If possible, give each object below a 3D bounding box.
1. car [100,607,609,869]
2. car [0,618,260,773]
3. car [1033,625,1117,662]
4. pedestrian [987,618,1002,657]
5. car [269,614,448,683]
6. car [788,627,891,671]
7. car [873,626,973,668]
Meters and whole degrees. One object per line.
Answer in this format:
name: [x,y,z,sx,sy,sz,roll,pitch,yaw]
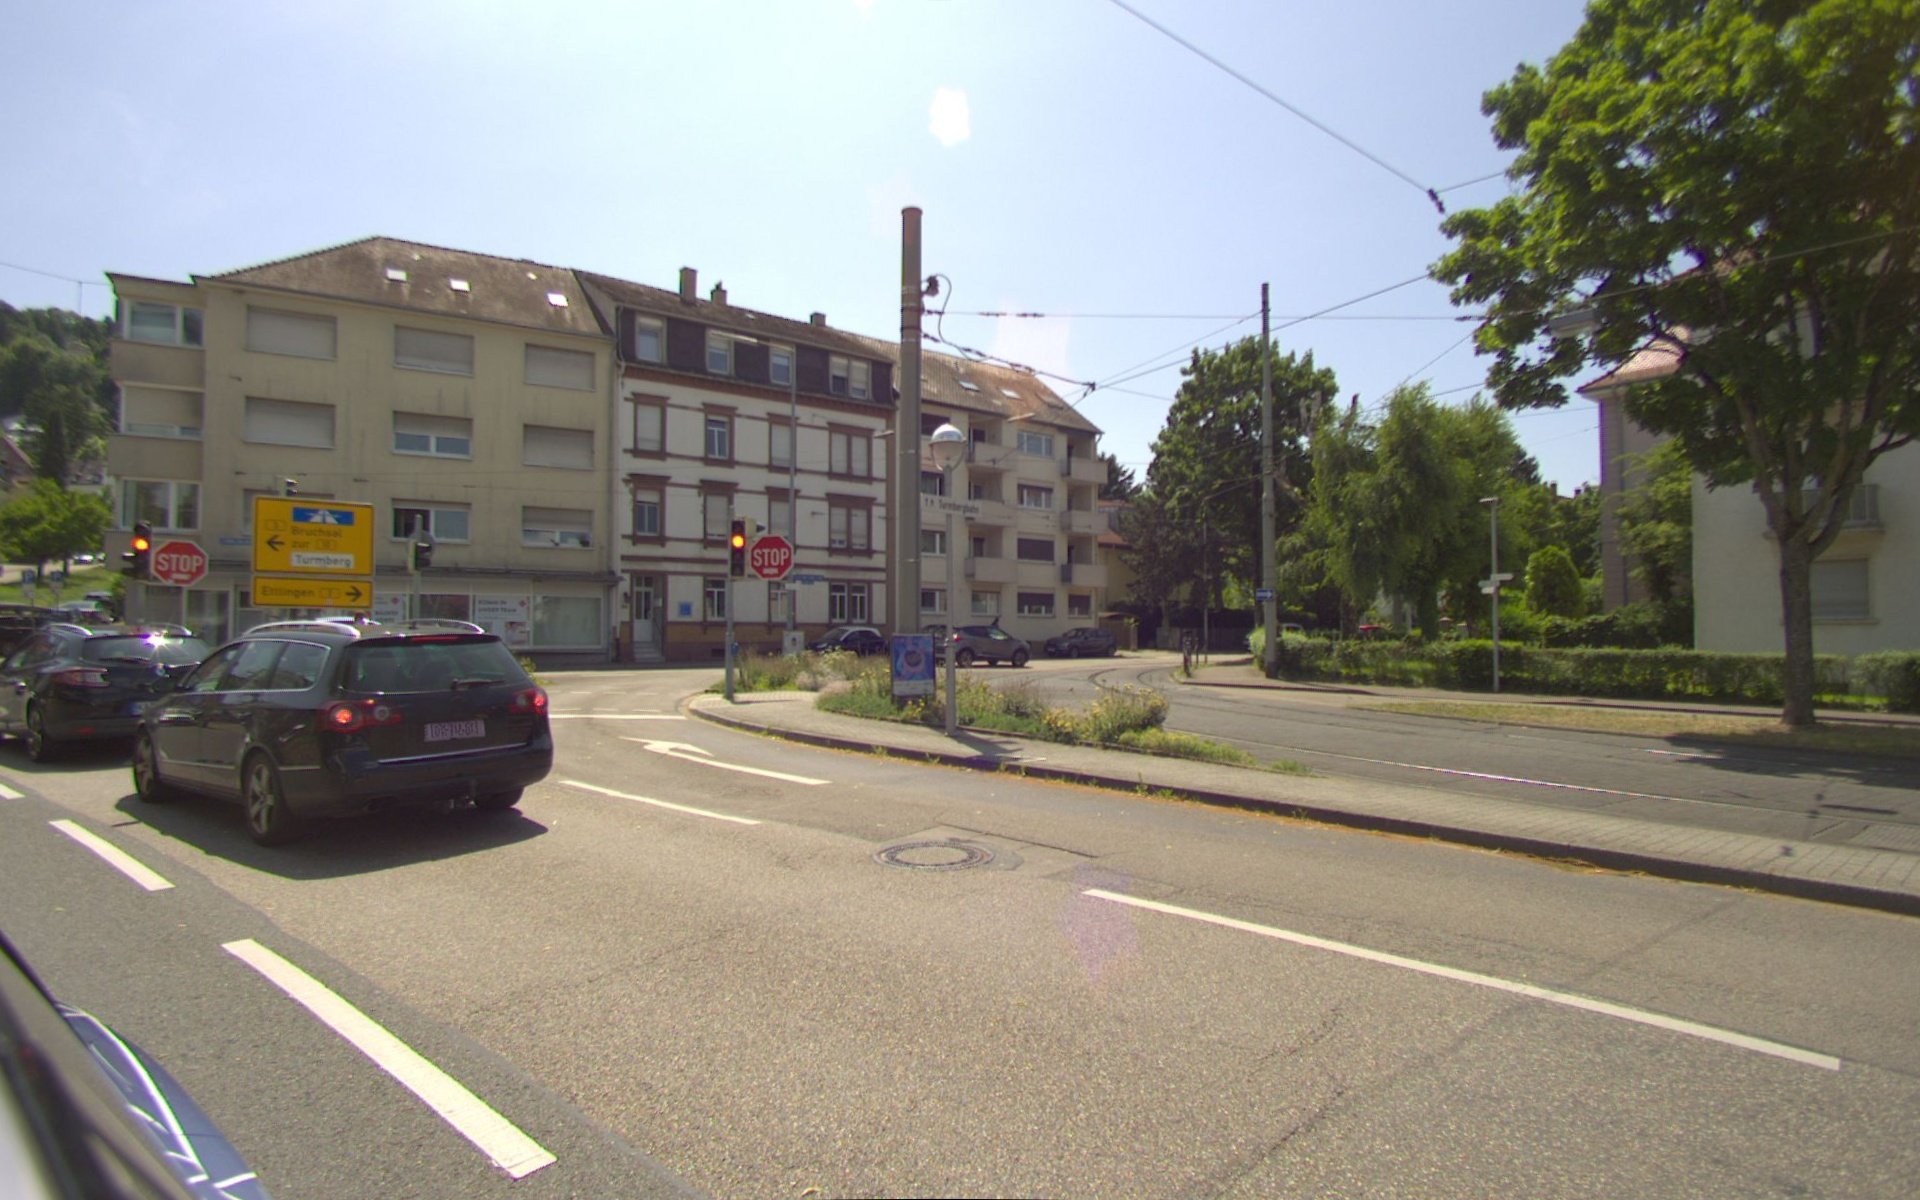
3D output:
car: [-4.985,0.834,8.027,4.804,1.502,1.819,-1,-2,37]
car: [-10.223,0.990,12.027,4.118,1.502,1.820,-1,0,35]
car: [5.716,2.114,50.048,4.006,1.597,1.818,-1,0,-39]
pedestrian: [1.672,1.800,48.957,0.548,1.871,0.429,-1,0,-35]
car: [-15.831,1.216,26.717,3.933,1.630,1.764,-1,0,-34]
car: [-4.944,1.975,41.732,3.699,1.597,2.004,-1,0,-39]
car: [-1.592,2.018,44.453,4.006,1.597,2.004,-1,0,-39]
